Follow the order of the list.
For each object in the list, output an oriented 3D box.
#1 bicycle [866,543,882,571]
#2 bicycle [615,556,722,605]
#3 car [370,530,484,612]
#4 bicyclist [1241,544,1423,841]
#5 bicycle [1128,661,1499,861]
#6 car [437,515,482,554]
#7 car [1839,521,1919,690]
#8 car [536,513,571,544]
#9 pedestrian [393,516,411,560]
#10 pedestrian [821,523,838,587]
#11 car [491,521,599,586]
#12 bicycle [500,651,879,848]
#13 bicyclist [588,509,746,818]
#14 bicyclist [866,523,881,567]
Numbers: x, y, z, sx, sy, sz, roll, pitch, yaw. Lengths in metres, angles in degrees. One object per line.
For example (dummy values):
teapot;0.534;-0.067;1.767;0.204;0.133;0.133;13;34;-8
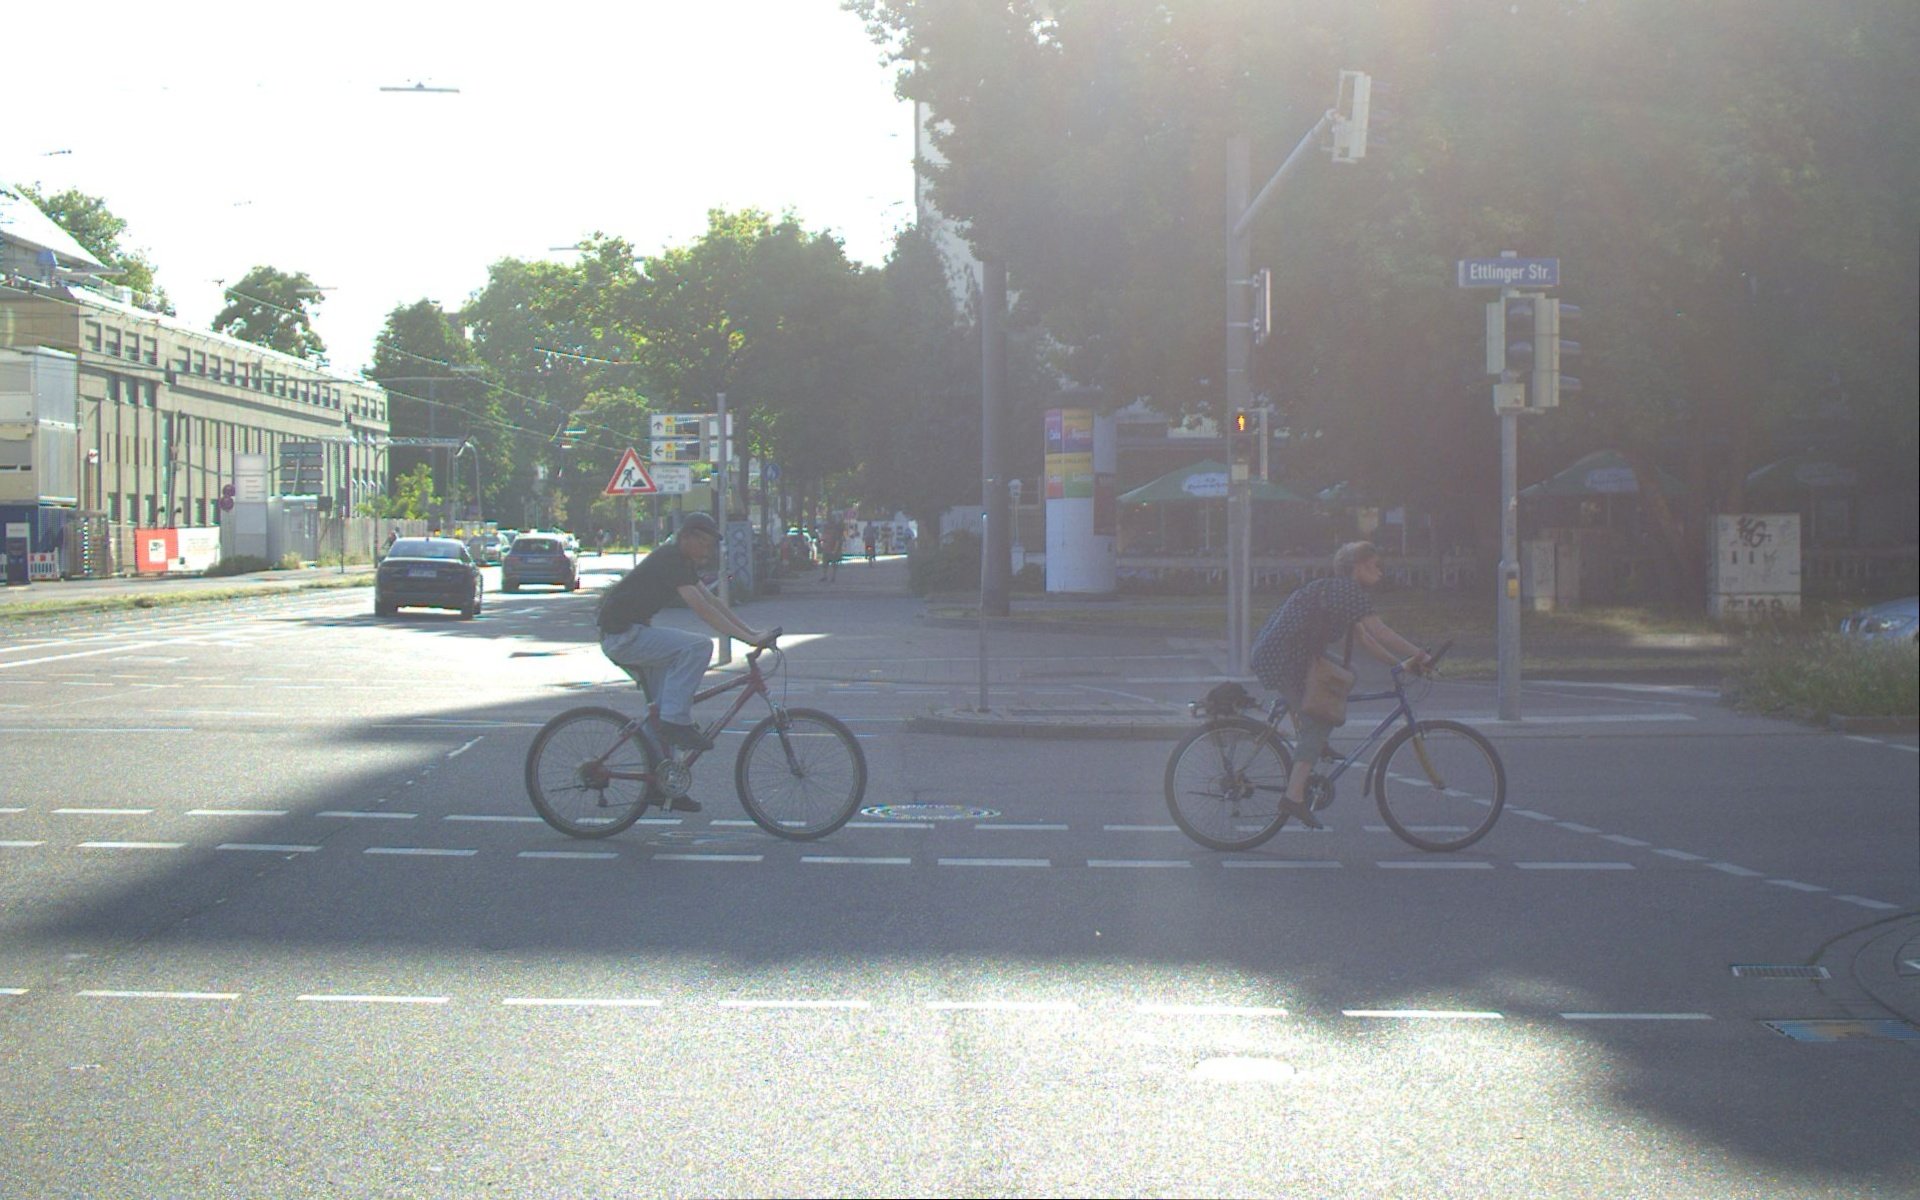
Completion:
bicycle;-3.300;-1.648;131.910;0.575;1.073;1.831;0;1;-1
bicycle;-5.723;-0.385;67.477;2.018;0.888;0.650;-2;0;27
car;-9.883;-0.554;63.968;1.660;1.450;4.433;1;1;-3
bicyclist;1.845;0.444;17.096;0.798;1.446;0.617;0;1;-4
bicycle;1.746;0.788;17.099;1.742;0.932;0.646;-1;1;-5
car;-22.766;-2.970;156.442;1.692;1.712;4.248;1;1;-4
car;10.760;0.021;33.407;3.993;1.605;1.650;-1;1;-1
car;-23.004;-4.035;194.687;1.692;1.712;4.248;1;1;-4
pedestrian;-25.473;-2.813;156.906;0.674;2.007;0.751;1;0;-3
pedestrian;-3.709;-1.282;97.707;0.463;1.807;0.503;0;1;-5
car;-10.767;-1.217;89.398;1.892;1.560;4.807;3;1;3
bicycle;-1.357;0.742;17.273;1.857;0.932;0.560;-1;1;-5
bicyclist;-1.473;0.306;17.281;0.762;1.519;0.606;0;1;-5
bicyclist;-3.309;-2.098;131.892;0.569;1.685;0.700;0;1;-1
